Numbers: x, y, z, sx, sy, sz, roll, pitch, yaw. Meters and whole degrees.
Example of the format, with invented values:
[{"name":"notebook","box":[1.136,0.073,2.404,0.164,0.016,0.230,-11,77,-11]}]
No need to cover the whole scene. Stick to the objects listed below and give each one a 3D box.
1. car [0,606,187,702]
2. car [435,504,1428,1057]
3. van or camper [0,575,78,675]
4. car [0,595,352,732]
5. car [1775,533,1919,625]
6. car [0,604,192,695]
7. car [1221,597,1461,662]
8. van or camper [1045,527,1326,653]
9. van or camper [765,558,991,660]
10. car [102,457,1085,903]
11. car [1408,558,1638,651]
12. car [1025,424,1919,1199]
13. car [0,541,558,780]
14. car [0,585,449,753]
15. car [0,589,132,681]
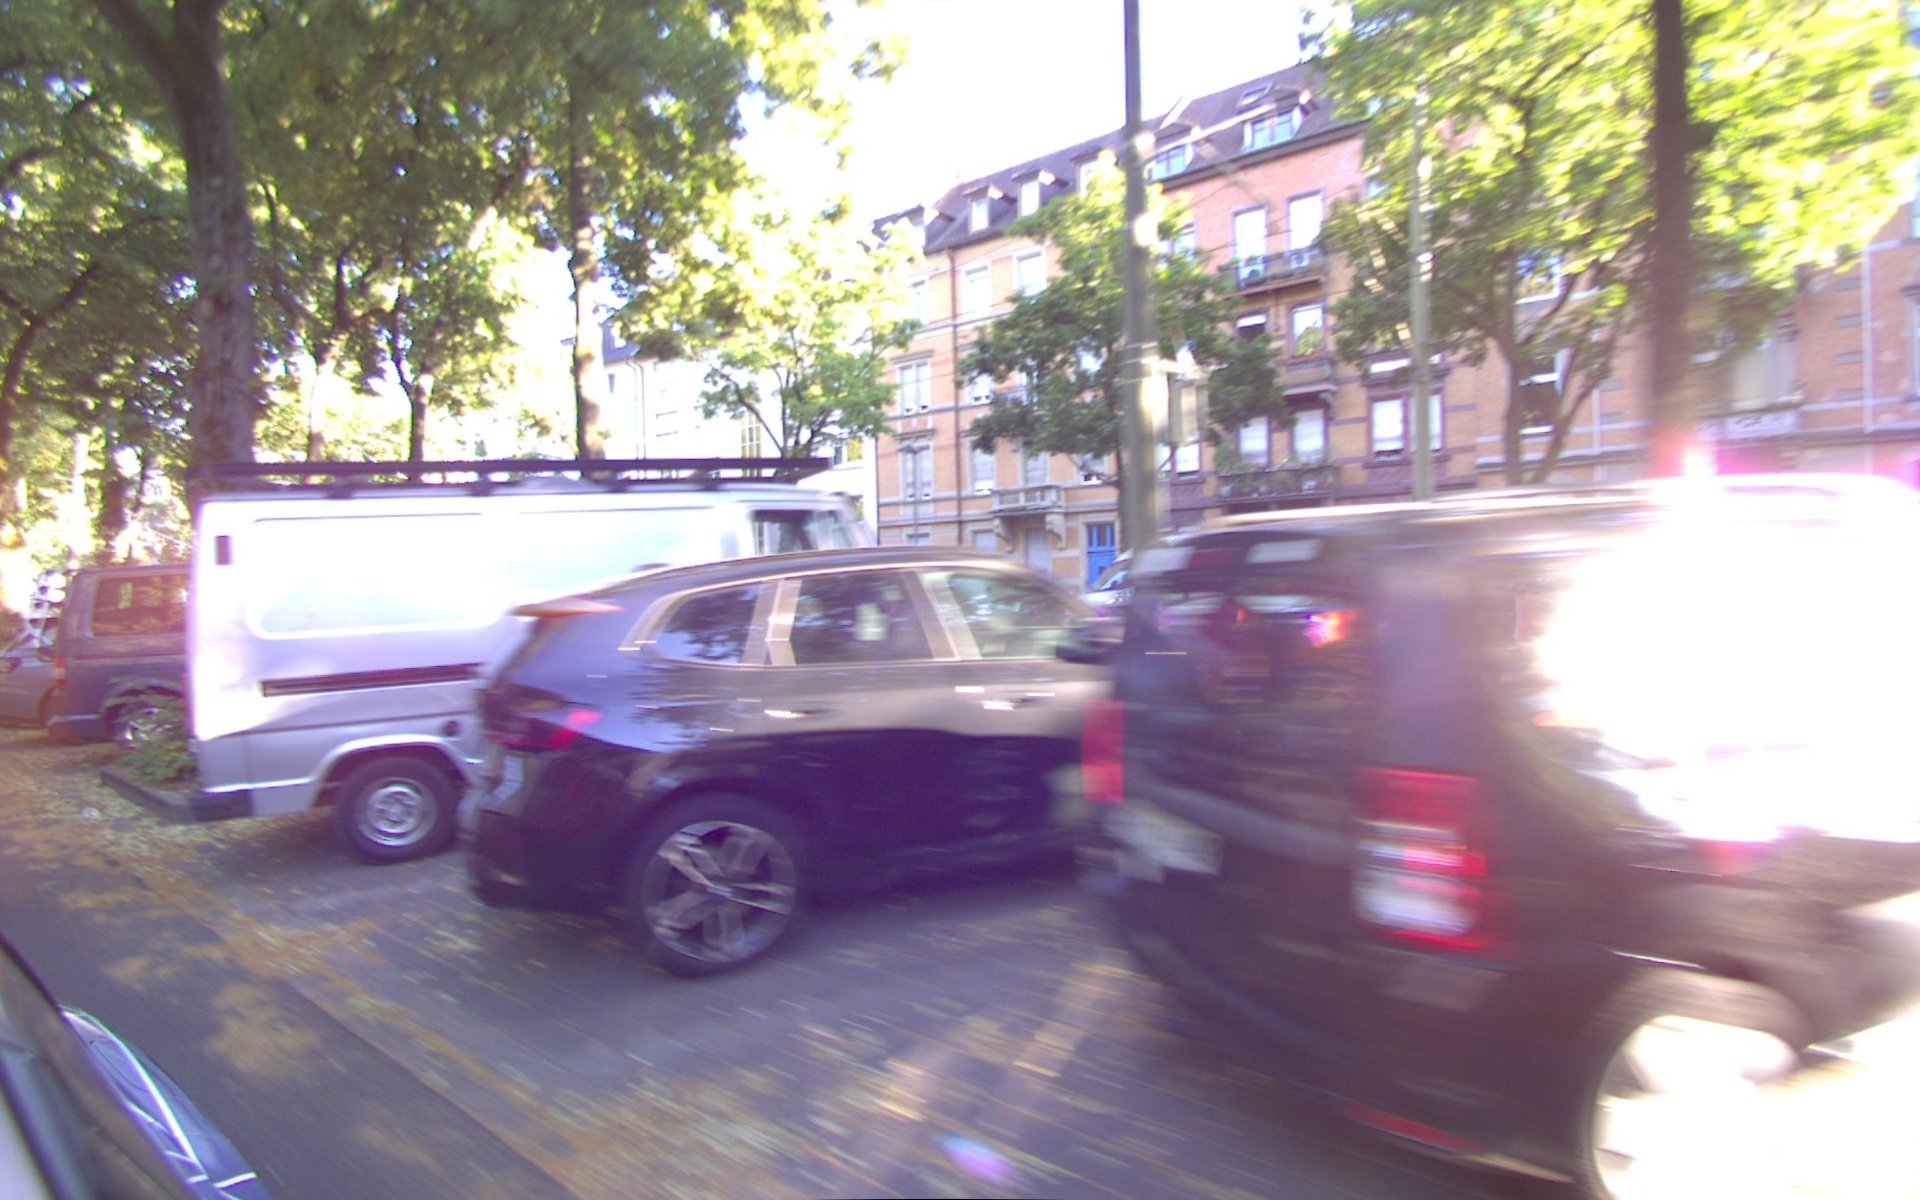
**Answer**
[{"name":"car","box":[-16.634,0.988,18.290,3.760,1.449,1.831,-4,3,-17]},{"name":"car","box":[-0.048,0.470,5.055,4.442,1.628,1.941,-5,3,-26]},{"name":"van or camper","box":[-26.102,0.730,25.880,4.802,2.488,2.052,-4,3,-24]},{"name":"car","box":[-11.279,0.827,14.511,4.024,1.499,1.790,-4,3,-20]},{"name":"car","box":[19.231,-0.400,20.608,4.018,1.796,1.833,-1,-2,38]},{"name":"car","box":[-18.012,0.982,20.474,3.490,1.504,1.832,-4,3,-22]},{"name":"car","box":[7.208,0.526,19.153,4.095,1.106,1.833,0,-1,-23]},{"name":"van or camper","box":[4.790,-0.203,21.452,5.455,2.389,2.315,-1,-1,-24]},{"name":"van or camper","box":[-2.126,0.199,26.779,5.579,2.487,2.006,-1,-1,-27]},{"name":"car","box":[-2.084,0.251,7.044,5.420,2.152,2.088,-4,3,-21]},{"name":"car","box":[13.691,0.137,24.752,4.653,2.019,1.834,-2,2,38]},{"name":"car","box":[2.659,0.377,3.172,4.443,1.628,1.860,-4,3,-18]},{"name":"car","box":[-6.930,0.494,10.873,4.634,1.957,1.941,-4,3,-18]},{"name":"car","box":[-9.071,0.747,12.622,4.494,1.552,1.941,-4,3,-18]},{"name":"car","box":[-23.232,0.899,24.196,4.802,1.992,2.052,-4,3,-22]}]
